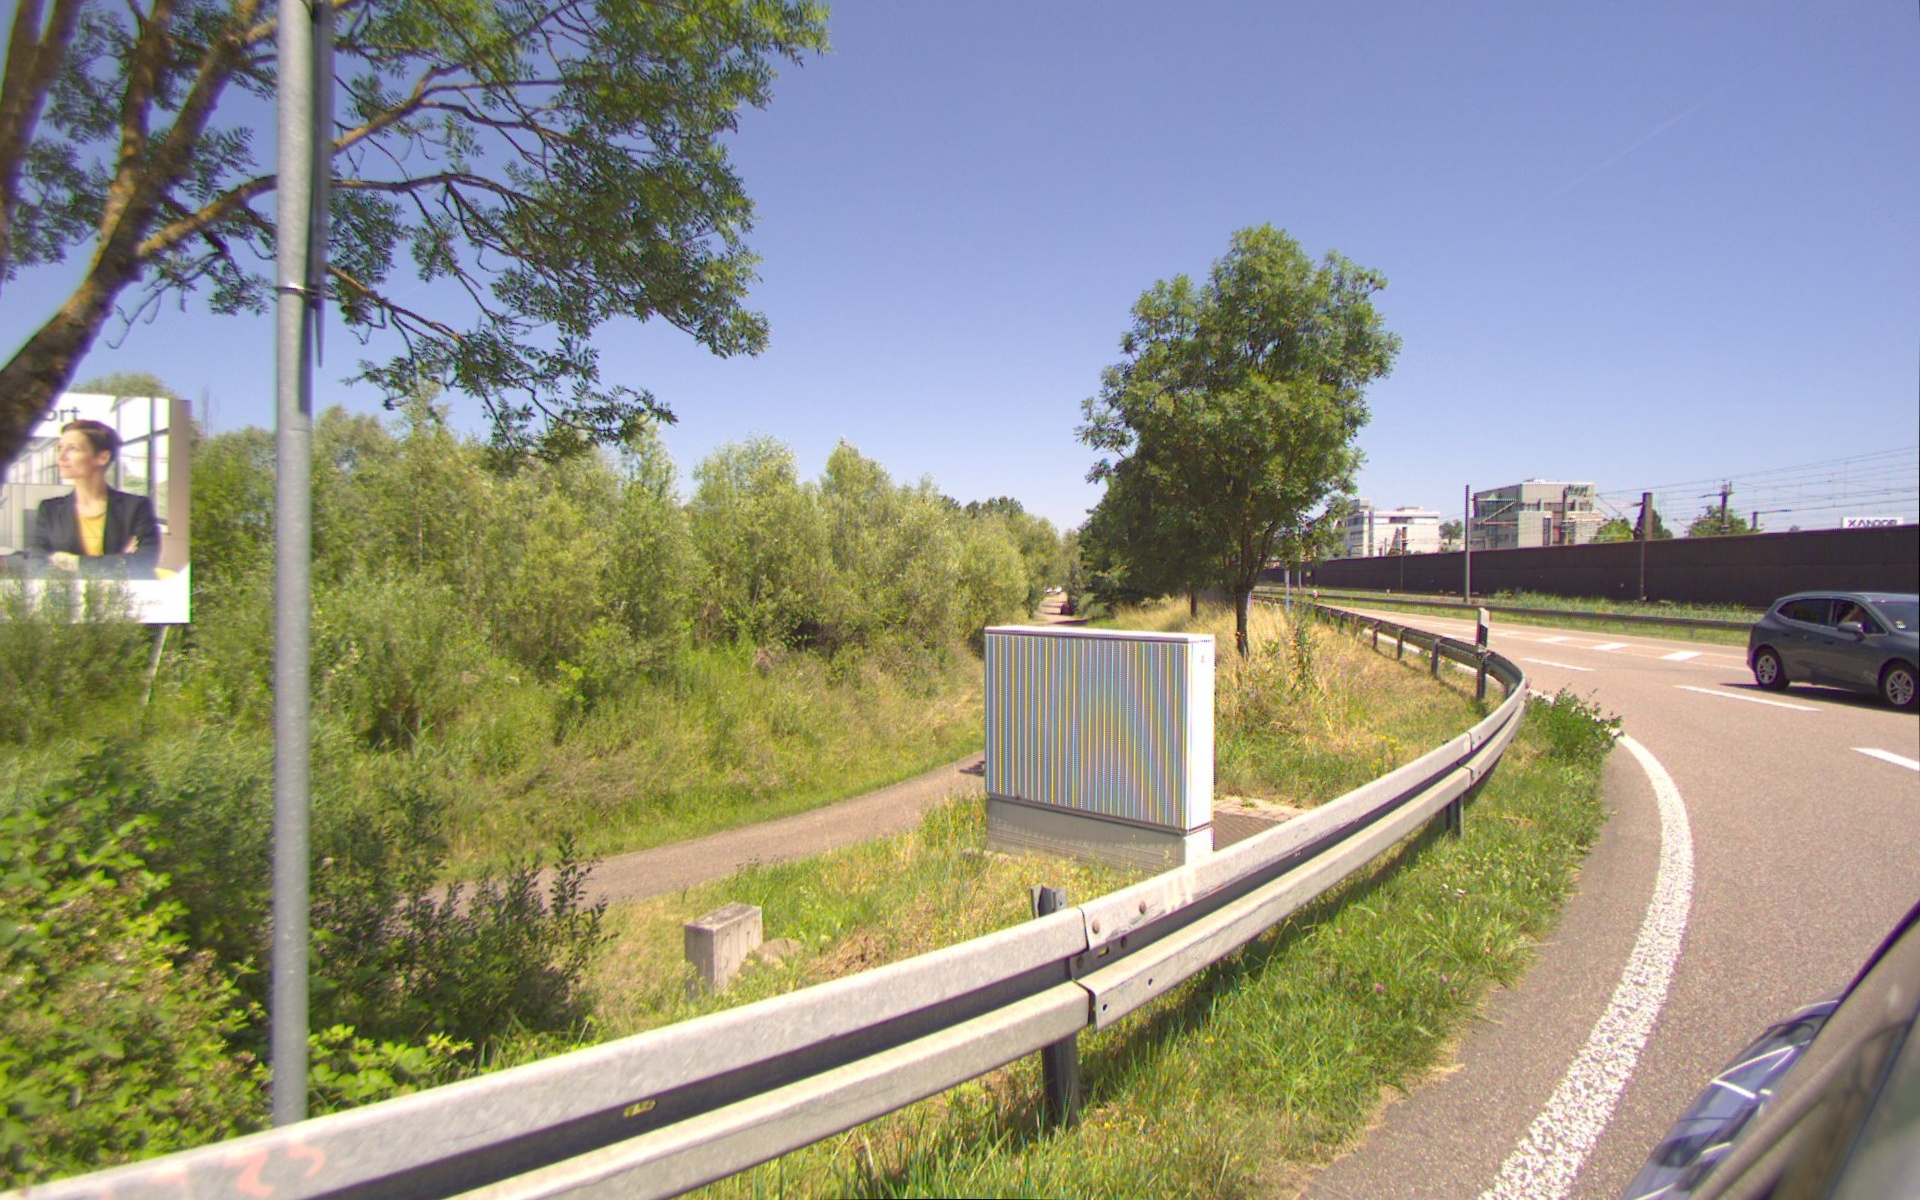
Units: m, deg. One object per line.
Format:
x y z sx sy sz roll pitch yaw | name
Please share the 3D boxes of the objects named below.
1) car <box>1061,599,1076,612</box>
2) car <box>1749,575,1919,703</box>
14.168 0.712 132.572 1.965 1.705 3.993 0 0 6 | car
13.461 0.497 14.181 1.819 1.643 4.218 1 2 7 | car
